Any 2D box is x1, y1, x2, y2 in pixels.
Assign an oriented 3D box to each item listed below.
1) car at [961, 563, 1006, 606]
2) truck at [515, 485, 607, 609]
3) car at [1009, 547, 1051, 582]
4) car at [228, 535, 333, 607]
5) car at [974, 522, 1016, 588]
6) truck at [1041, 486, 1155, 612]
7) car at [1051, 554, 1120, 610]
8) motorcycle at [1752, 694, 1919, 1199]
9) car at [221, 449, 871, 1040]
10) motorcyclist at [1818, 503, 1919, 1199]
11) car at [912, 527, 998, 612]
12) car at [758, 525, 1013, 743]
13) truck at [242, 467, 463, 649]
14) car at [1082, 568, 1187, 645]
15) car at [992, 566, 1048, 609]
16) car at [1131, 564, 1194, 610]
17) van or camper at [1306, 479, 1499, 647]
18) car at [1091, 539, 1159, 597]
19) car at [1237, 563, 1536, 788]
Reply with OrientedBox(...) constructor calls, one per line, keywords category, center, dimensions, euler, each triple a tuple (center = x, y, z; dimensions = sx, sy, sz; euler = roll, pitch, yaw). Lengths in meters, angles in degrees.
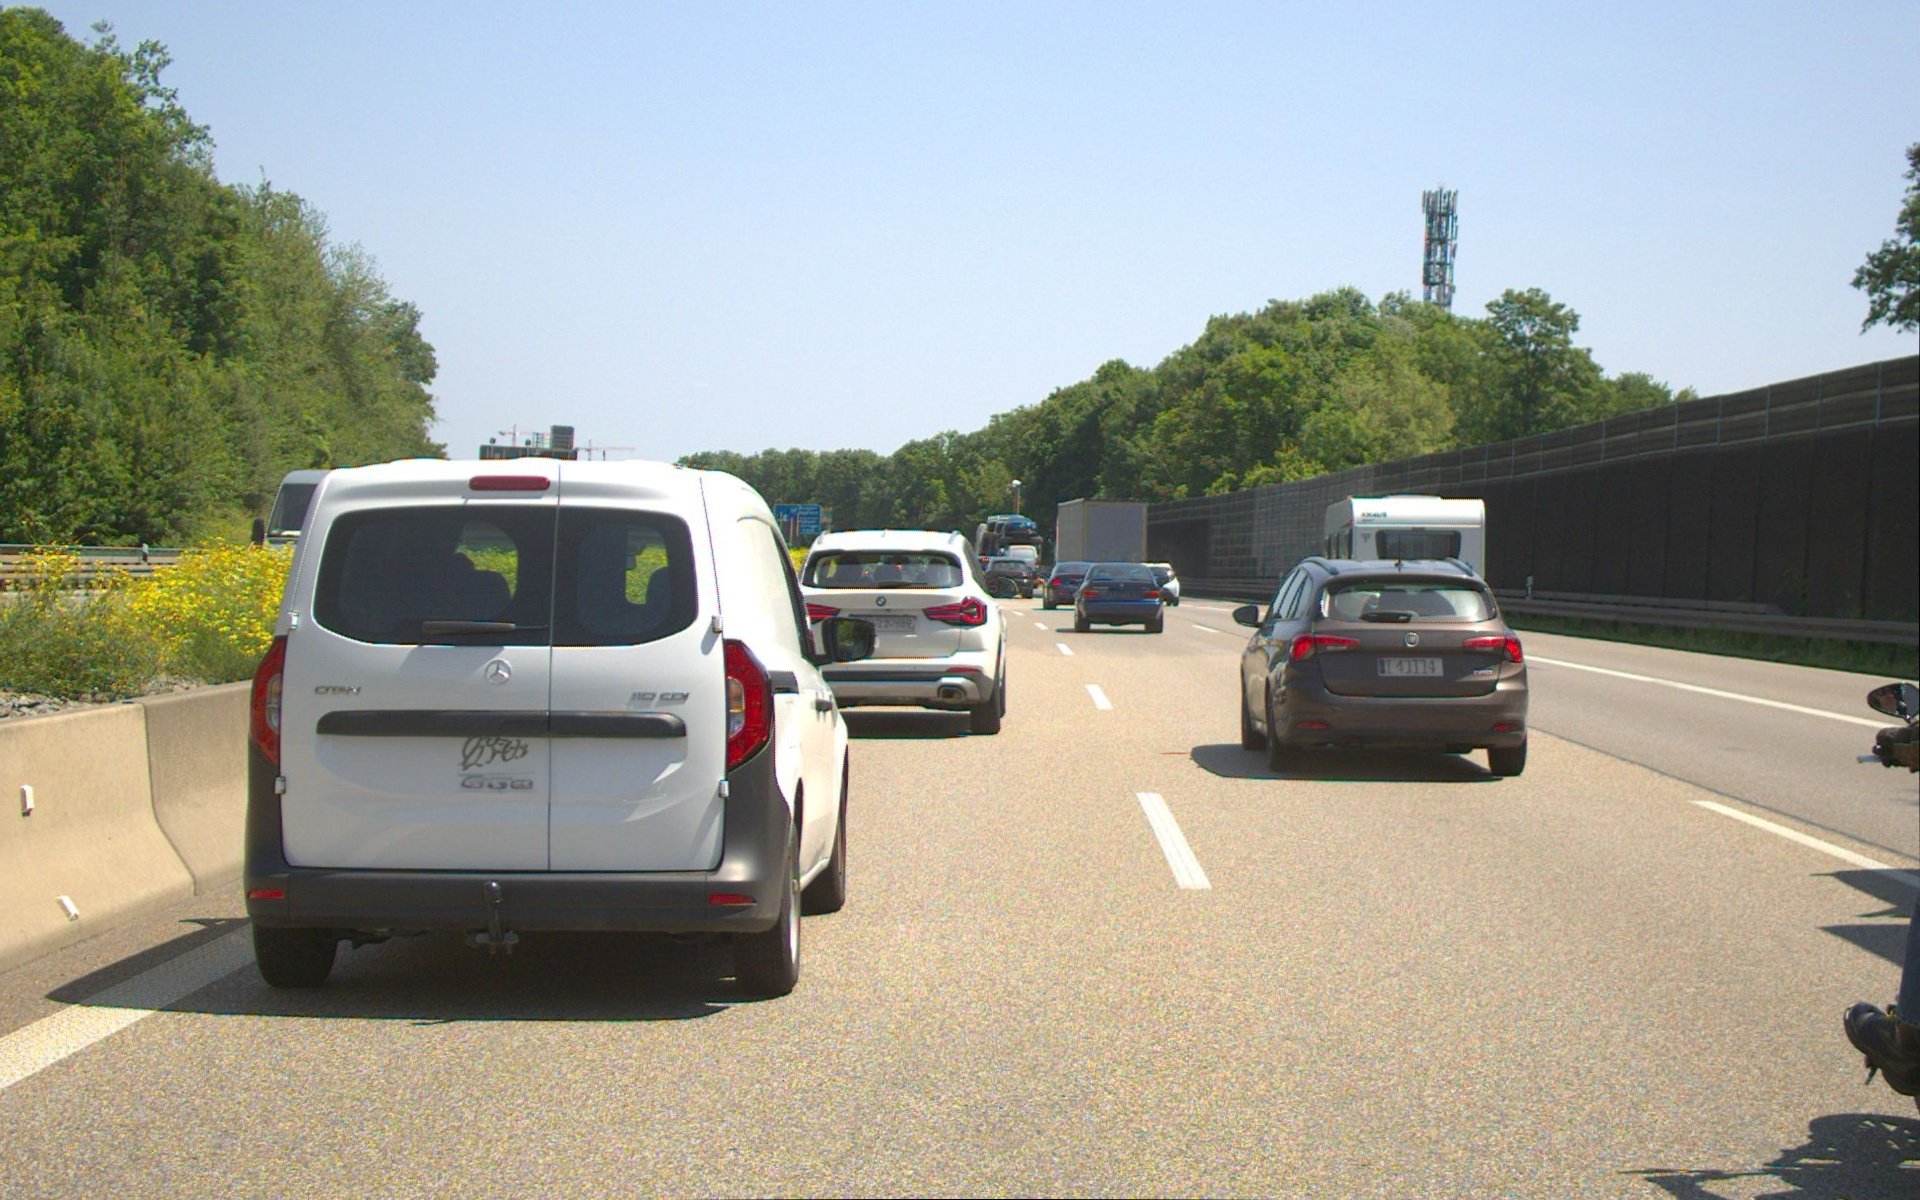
OrientedBox(category="car", center=(1.093, -0.730, 163.484), dimensions=(1.911, 2.007, 3.691), euler=(1, 0, -3))
OrientedBox(category="truck", center=(-18.012, -2.315, 155.631), dimensions=(3.480, 5.258, 10.019), euler=(2, -1, -4))
OrientedBox(category="car", center=(3.843, -1.948, 189.715), dimensions=(2.107, 1.870, 4.000), euler=(1, 0, -2))
OrientedBox(category="car", center=(-14.931, -0.652, 75.648), dimensions=(1.620, 1.516, 3.424), euler=(1, 1, 0))
OrientedBox(category="car", center=(2.090, -2.743, 209.079), dimensions=(2.133, 3.848, 8.143), euler=(2, 1, -2))
OrientedBox(category="truck", center=(5.603, -2.005, 141.535), dimensions=(3.802, 4.943, 8.951), euler=(1, 0, -3))
OrientedBox(category="car", center=(3.593, -0.533, 99.030), dimensions=(1.779, 1.546, 3.585), euler=(2, 1, 0))
OrientedBox(category="motorcycle", center=(2.473, 0.865, 8.097), dimensions=(0.965, 1.144, 2.810), euler=(2, 1, 9))
OrientedBox(category="car", center=(-1.352, 0.423, 13.036), dimensions=(1.765, 1.806, 4.674), euler=(1, 1, 1))
OrientedBox(category="motorcyclist", center=(2.560, 0.548, 8.037), dimensions=(0.900, 1.470, 1.871), euler=(1, 0, 9))
OrientedBox(category="car", center=(-0.144, -0.686, 79.497), dimensions=(1.899, 1.867, 4.412), euler=(1, 0, -1))
OrientedBox(category="car", center=(-0.552, 0.240, 29.703), dimensions=(1.864, 1.688, 4.956), euler=(1, 1, 2))
OrientedBox(category="truck", center=(-7.969, -0.576, 45.679), dimensions=(1.837, 2.218, 6.197), euler=(1, 1, 0))
OrientedBox(category="car", center=(3.405, 0.128, 67.597), dimensions=(1.994, 1.425, 3.847), euler=(1, 0, 2))
OrientedBox(category="car", center=(2.361, -0.478, 135.487), dimensions=(1.993, 1.634, 4.000), euler=(1, 0, -1))
OrientedBox(category="car", center=(7.148, -0.451, 121.566), dimensions=(1.993, 1.568, 4.000), euler=(1, 0, 1))
OrientedBox(category="van or camper", center=(7.852, -0.614, 61.798), dimensions=(2.685, 2.803, 6.802), euler=(1, 0, 1))
OrientedBox(category="car", center=(5.042, -1.001, 105.195), dimensions=(1.803, 1.681, 3.918), euler=(2, 1, -1))
OrientedBox(category="car", center=(2.961, 0.506, 24.534), dimensions=(1.662, 1.448, 3.869), euler=(1, 0, 1))
